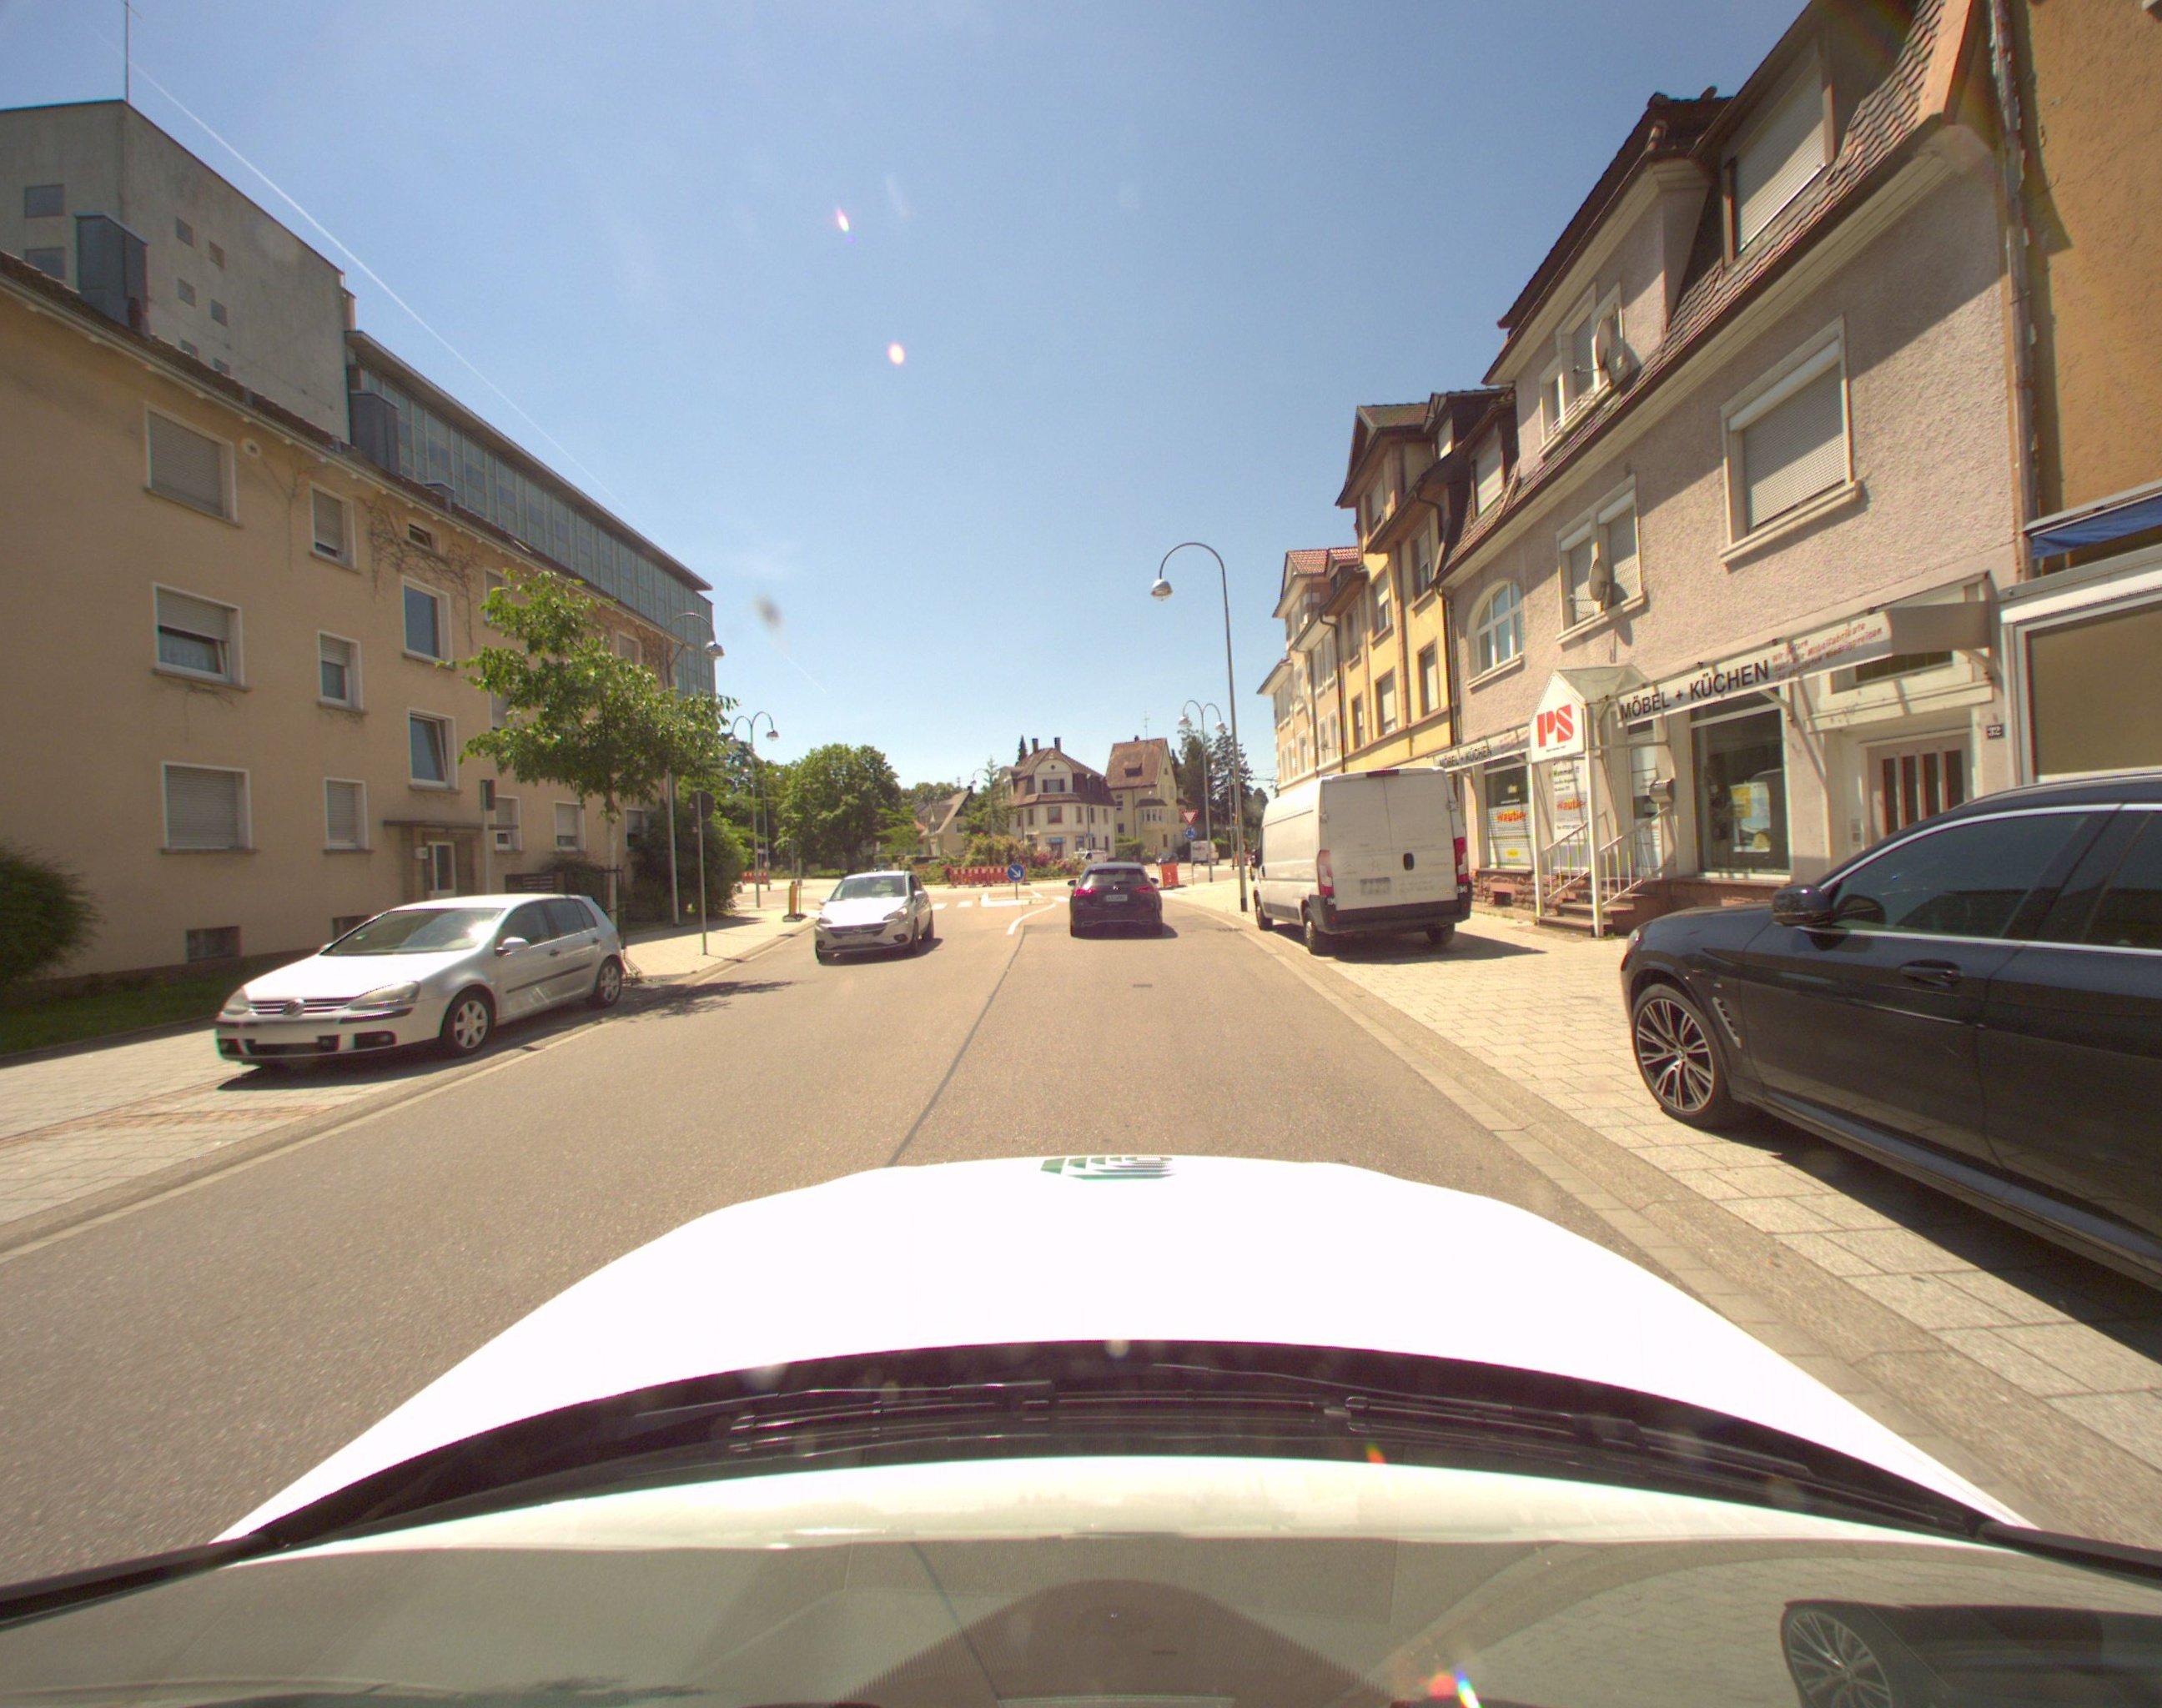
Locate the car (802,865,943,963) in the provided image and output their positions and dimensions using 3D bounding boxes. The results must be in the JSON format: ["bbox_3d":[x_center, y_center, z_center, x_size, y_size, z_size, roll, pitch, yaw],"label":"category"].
[{"bbox_3d":[-3.717,0.995,15.176,1.655,1.496,3.757,-3,-1,-1],"label":"car"}]

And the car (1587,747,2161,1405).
[{"bbox_3d":[3.629,0.483,2.501,1.884,1.607,4.375,-4,-1,9],"label":"car"}]

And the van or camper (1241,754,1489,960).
[{"bbox_3d":[4.324,0.052,13.664,2.157,2.589,5.768,-4,0,2],"label":"van or camper"}]

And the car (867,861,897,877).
[{"bbox_3d":[-22.423,1.705,91.728,1.773,1.597,3.931,-2,-3,11],"label":"car"}]

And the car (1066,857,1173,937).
[{"bbox_3d":[0.743,0.831,17.052,1.946,1.427,4.000,-2,-1,1],"label":"car"}]

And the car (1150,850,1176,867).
[{"bbox_3d":[9.160,0.481,90.324,1.904,1.772,4.020,-1,0,20],"label":"car"}]

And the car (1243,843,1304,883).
[{"bbox_3d":[8.485,0.379,36.347,1.757,1.530,4.693,-4,0,3],"label":"car"}]

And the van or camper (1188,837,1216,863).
[{"bbox_3d":[13.145,-0.446,88.260,2.188,2.610,4.019,-2,0,18],"label":"van or camper"}]

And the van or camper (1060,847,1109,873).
[{"bbox_3d":[0.359,0.513,73.369,1.974,2.172,5.446,-2,-1,30],"label":"van or camper"}]

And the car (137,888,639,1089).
[{"bbox_3d":[-6.701,1.162,8.644,1.990,1.420,4.081,-2,-1,-4],"label":"car"}]
